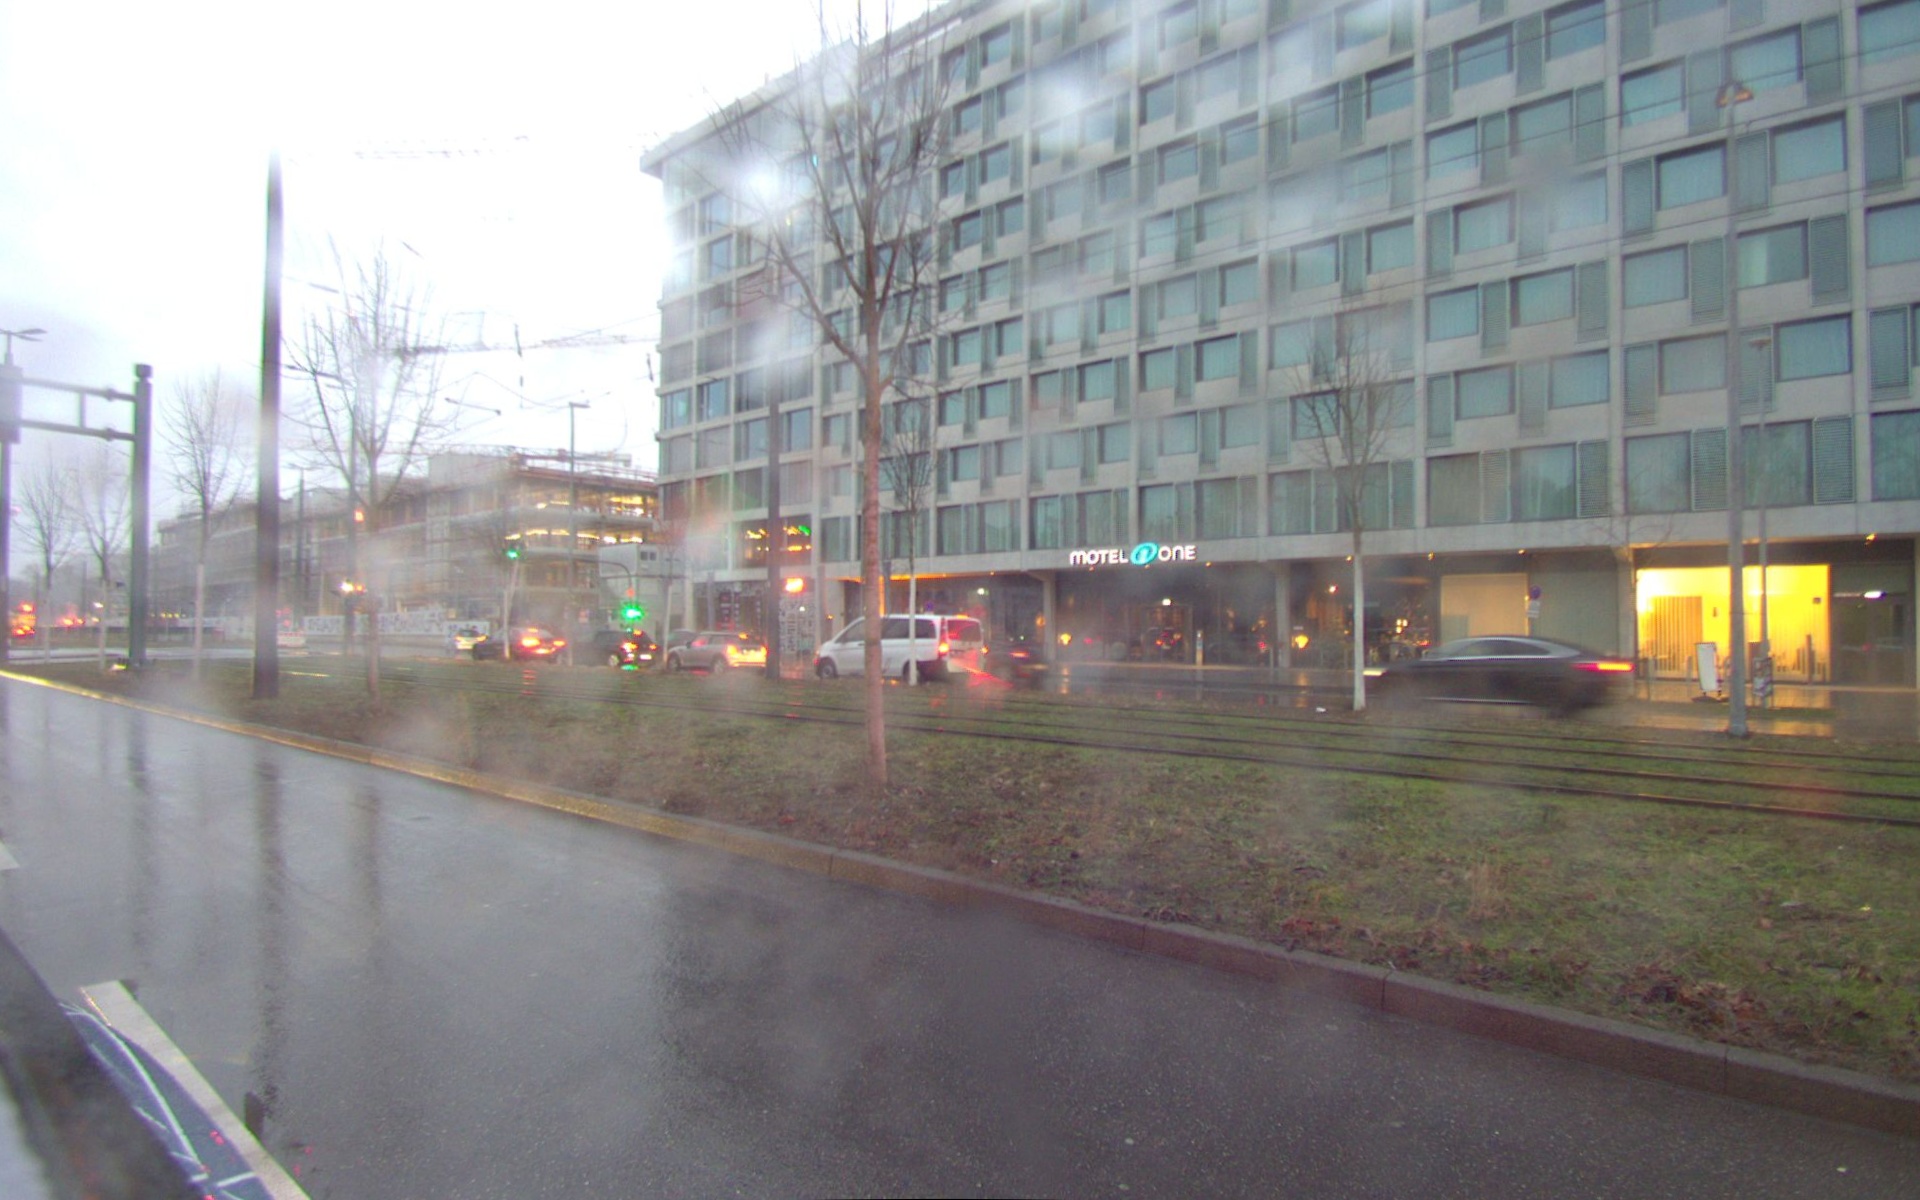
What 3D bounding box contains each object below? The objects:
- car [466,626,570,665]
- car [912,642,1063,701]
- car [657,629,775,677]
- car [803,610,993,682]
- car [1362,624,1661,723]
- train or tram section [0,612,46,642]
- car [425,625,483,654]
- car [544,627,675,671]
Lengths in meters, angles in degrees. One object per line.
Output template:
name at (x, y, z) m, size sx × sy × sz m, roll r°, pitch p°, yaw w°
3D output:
car at (-18.007, 1.806, 41.121) m, size 5.032 × 1.479 × 1.972 m, roll -2°, pitch -3°, yaw 42°
car at (0.816, 2.260, 33.088) m, size 4.915 × 1.732 × 1.876 m, roll -2°, pitch -2°, yaw 42°
car at (-7.863, 1.671, 32.485) m, size 3.704 × 1.442 × 1.876 m, roll -2°, pitch -3°, yaw 41°
car at (-1.721, 1.180, 26.602) m, size 5.113 × 1.732 × 1.877 m, roll -1°, pitch -3°, yaw 40°
car at (10.810, 1.351, 20.075) m, size 4.914 × 1.732 × 1.876 m, roll -2°, pitch -2°, yaw 41°
train or tram section at (-115.775, 3.342, 124.902) m, size 14.262 × 3.513 × 2.925 m, roll -2°, pitch -3°, yaw 42°
car at (-32.021, 2.483, 63.922) m, size 1.874 × 1.732 × 4.920 m, roll 2°, pitch -2°, yaw -44°
car at (-12.774, 1.758, 36.875) m, size 4.425 × 1.508 × 1.983 m, roll -1°, pitch -2°, yaw 26°
